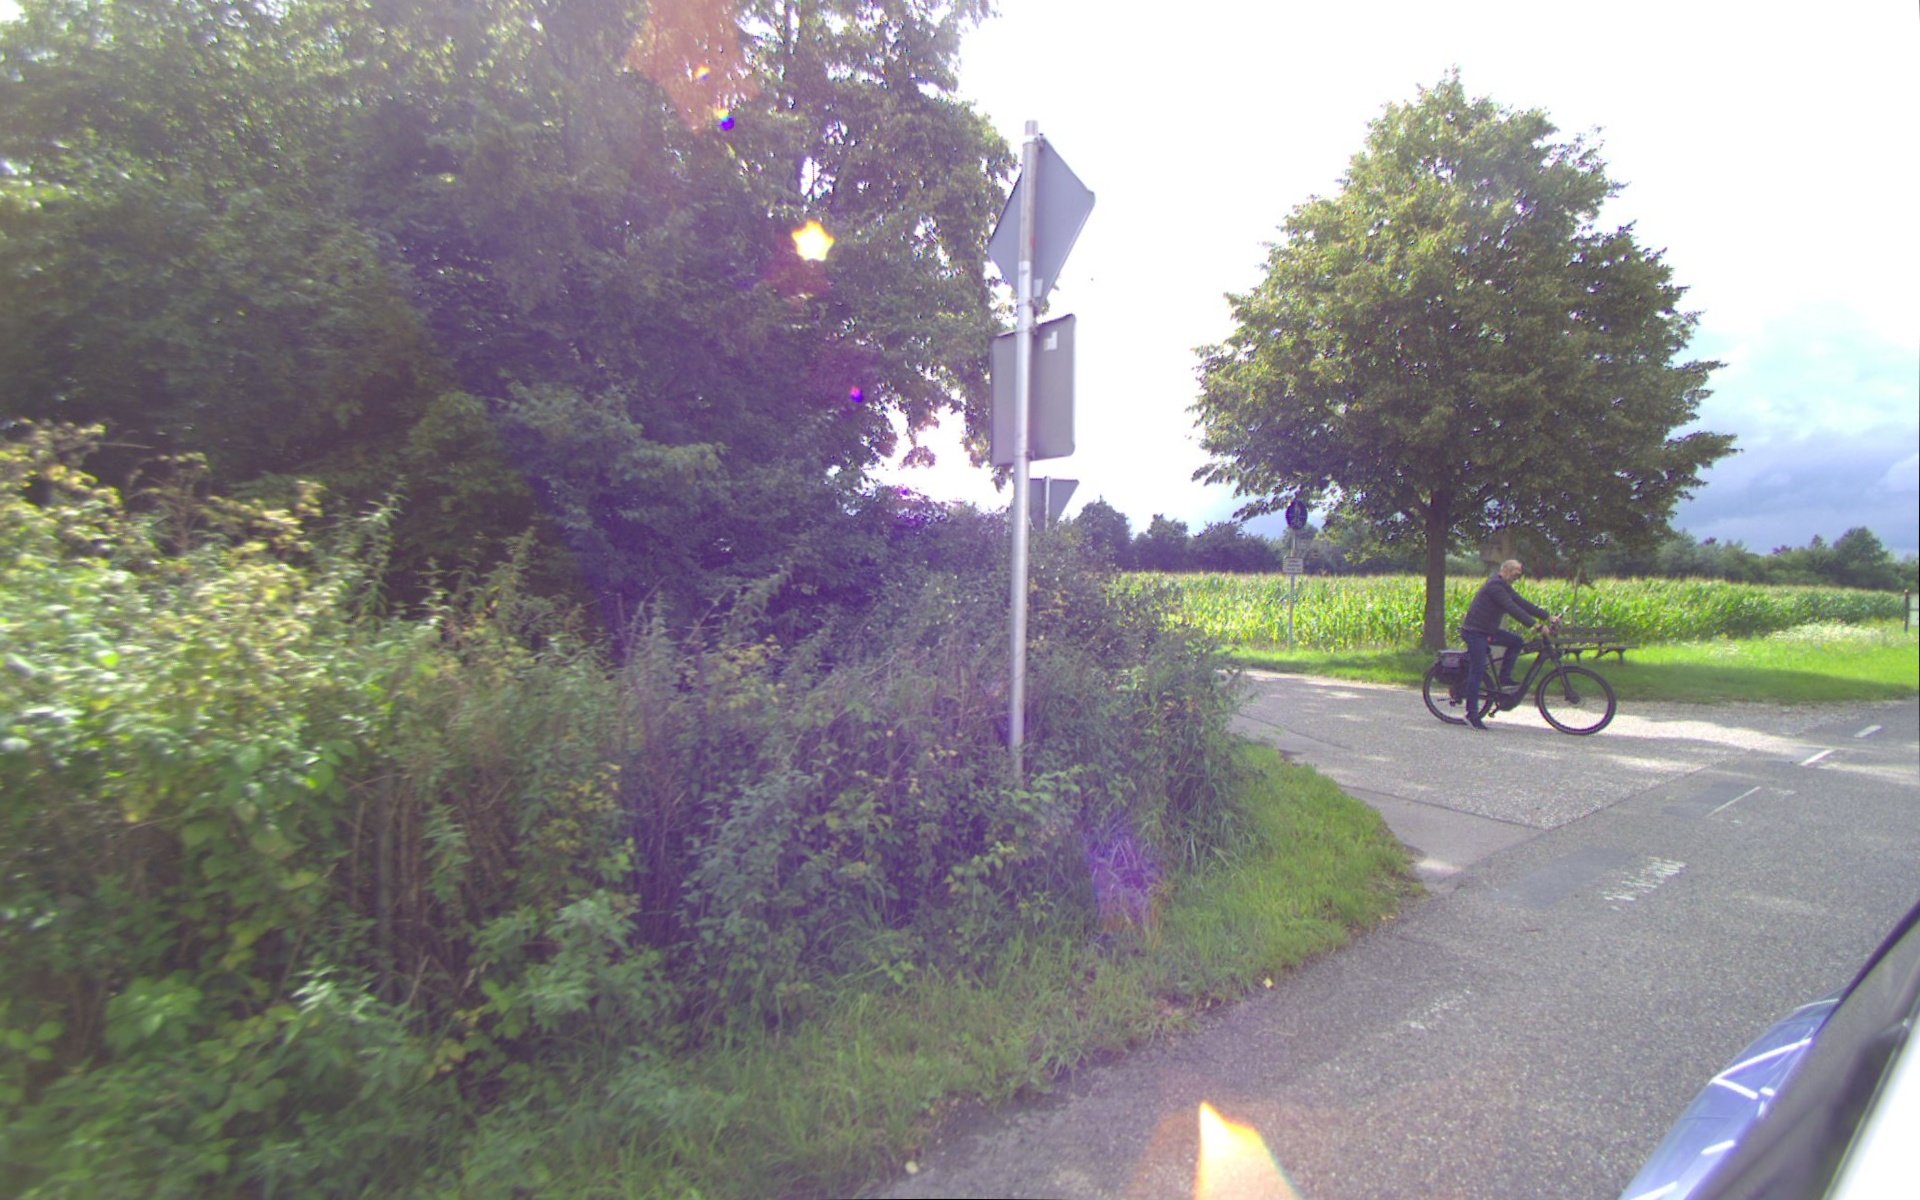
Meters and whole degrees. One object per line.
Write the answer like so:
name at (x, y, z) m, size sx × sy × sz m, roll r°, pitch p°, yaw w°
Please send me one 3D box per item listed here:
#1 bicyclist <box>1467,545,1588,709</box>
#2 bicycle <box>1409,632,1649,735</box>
bicyclist at (5.969, 0.262, 10.636) m, size 1.014 × 1.605 × 1.040 m, roll 0°, pitch 0°, yaw 35°
bicycle at (5.958, 0.827, 10.636) m, size 2.109 × 0.875 × 1.040 m, roll 1°, pitch 1°, yaw 36°
